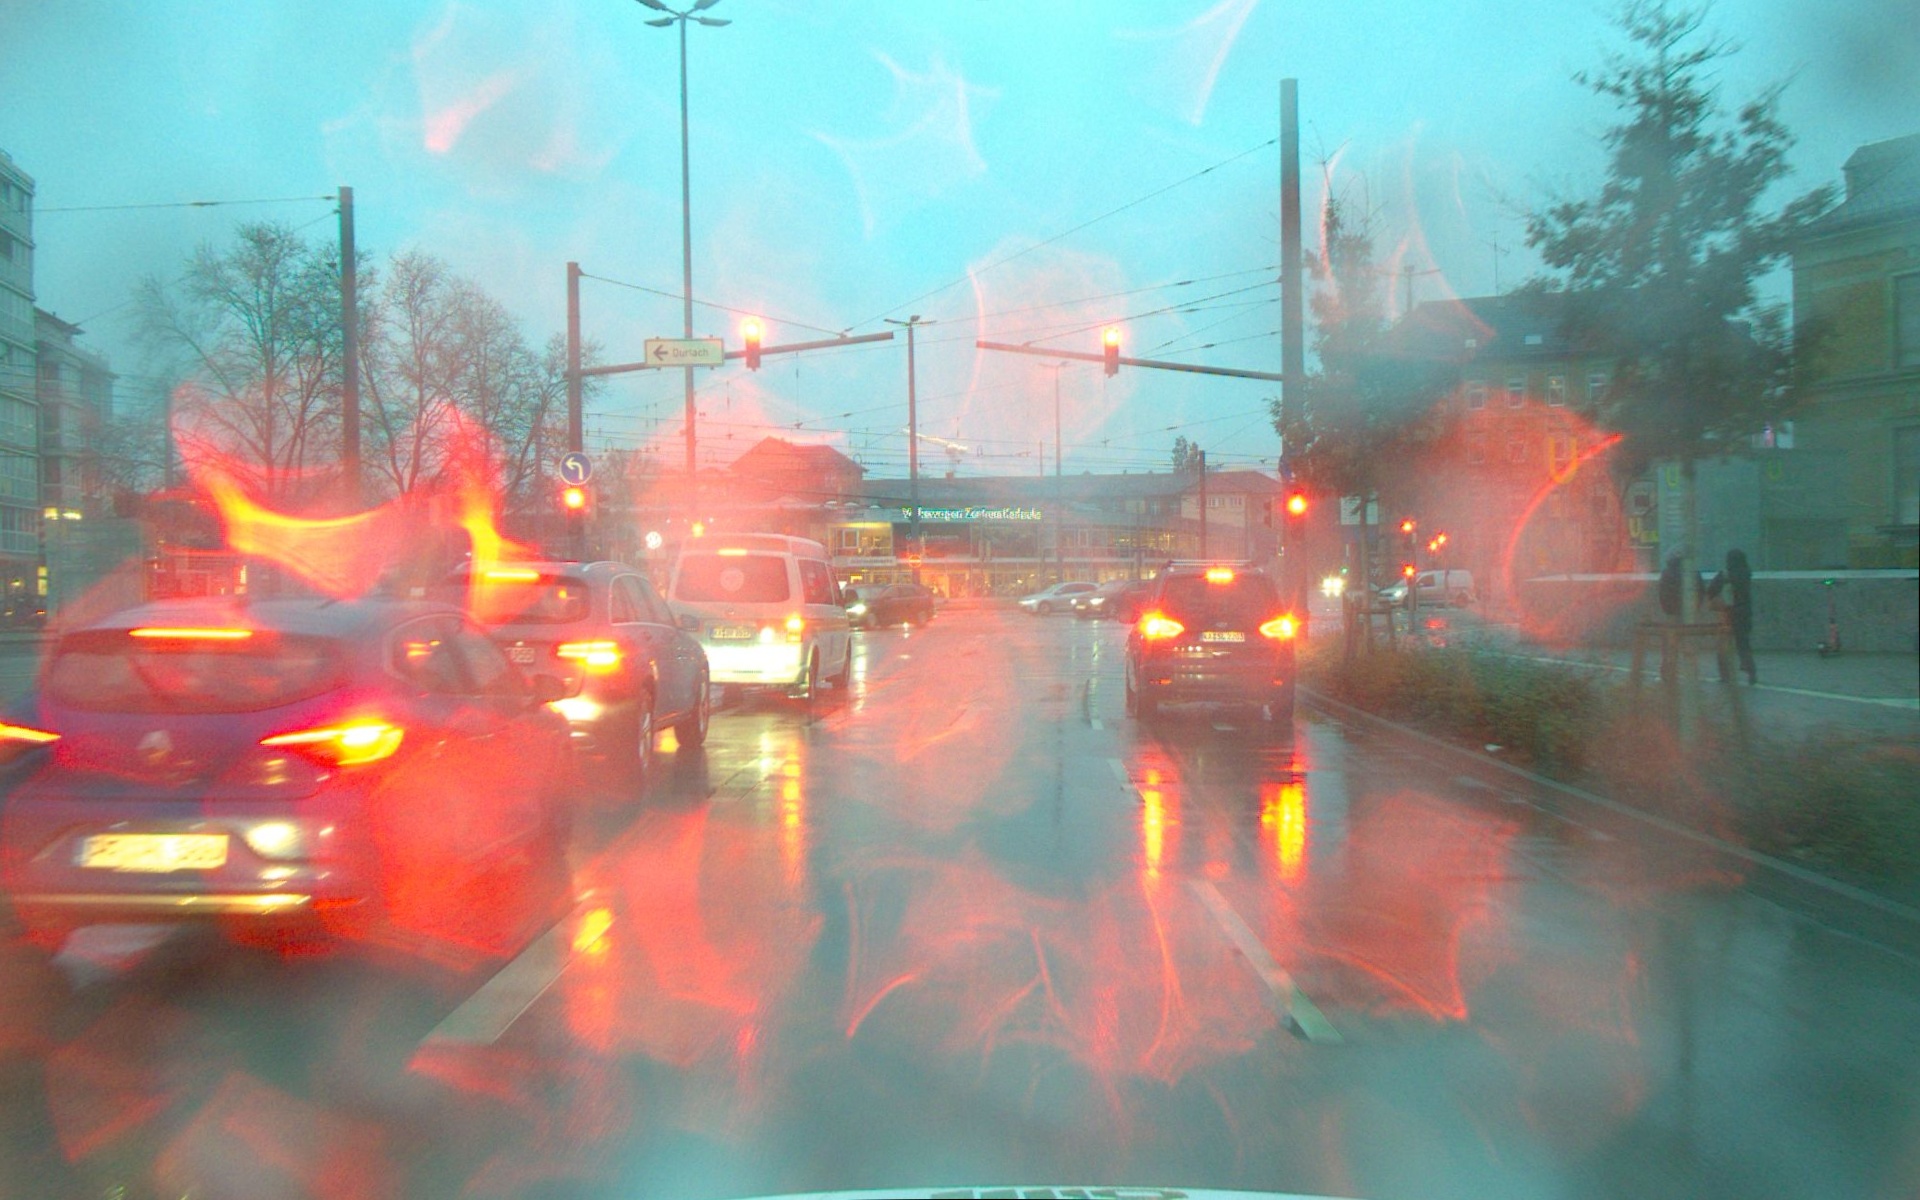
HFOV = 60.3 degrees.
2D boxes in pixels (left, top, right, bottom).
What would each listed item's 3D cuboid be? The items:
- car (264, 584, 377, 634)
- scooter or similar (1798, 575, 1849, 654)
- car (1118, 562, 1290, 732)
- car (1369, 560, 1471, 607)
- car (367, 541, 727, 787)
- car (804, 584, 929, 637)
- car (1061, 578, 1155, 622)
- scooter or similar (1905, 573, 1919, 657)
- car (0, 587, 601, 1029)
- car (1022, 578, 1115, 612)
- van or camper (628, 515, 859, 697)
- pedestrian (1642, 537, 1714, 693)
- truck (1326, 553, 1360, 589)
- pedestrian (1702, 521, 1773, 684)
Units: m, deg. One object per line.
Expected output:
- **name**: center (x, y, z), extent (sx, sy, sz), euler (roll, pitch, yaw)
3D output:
- **car**: center (-24.630, 0.325, 63.883), extent (3.927, 1.803, 1.989), euler (-2, 0, -19)
- **scooter or similar**: center (13.901, 0.220, 26.619), extent (0.504, 1.235, 1.377), euler (-1, 0, 37)
- **car**: center (2.841, 0.471, 20.057), extent (1.740, 1.831, 4.427), euler (0, 1, 4)
- **car**: center (21.449, -0.782, 77.216), extent (4.309, 2.049, 1.913), euler (-1, 0, 7)
- **car**: center (-3.136, 0.428, 13.562), extent (1.748, 1.628, 4.541), euler (2, 0, 0)
- **car**: center (-2.970, 0.321, 53.094), extent (1.959, 1.541, 3.987), euler (-1, 1, 35)
- **car**: center (5.876, -0.013, 65.415), extent (1.960, 1.630, 3.985), euler (-1, 0, 36)
- **scooter or similar**: center (14.367, 0.210, 24.596), extent (0.503, 1.235, 1.381), euler (-1, 0, 28)
- **car**: center (-2.806, 0.676, 7.487), extent (1.626, 1.428, 4.118), euler (1, 0, -3)
- **car**: center (4.685, -0.226, 71.722), extent (3.732, 1.390, 1.849), euler (-1, 0, -8)
- **van or camper**: center (-2.748, 0.058, 22.268), extent (2.155, 2.146, 4.989), euler (1, 0, 3)
- **pedestrian**: center (9.288, 0.170, 21.392), extent (0.791, 1.963, 0.759), euler (1, 3, 27)
- **truck**: center (29.938, -2.263, 129.192), extent (1.952, 2.738, 5.117), euler (-1, 0, 19)
- **pedestrian**: center (10.040, 0.006, 21.355), extent (0.791, 2.048, 0.759), euler (1, 3, 27)
